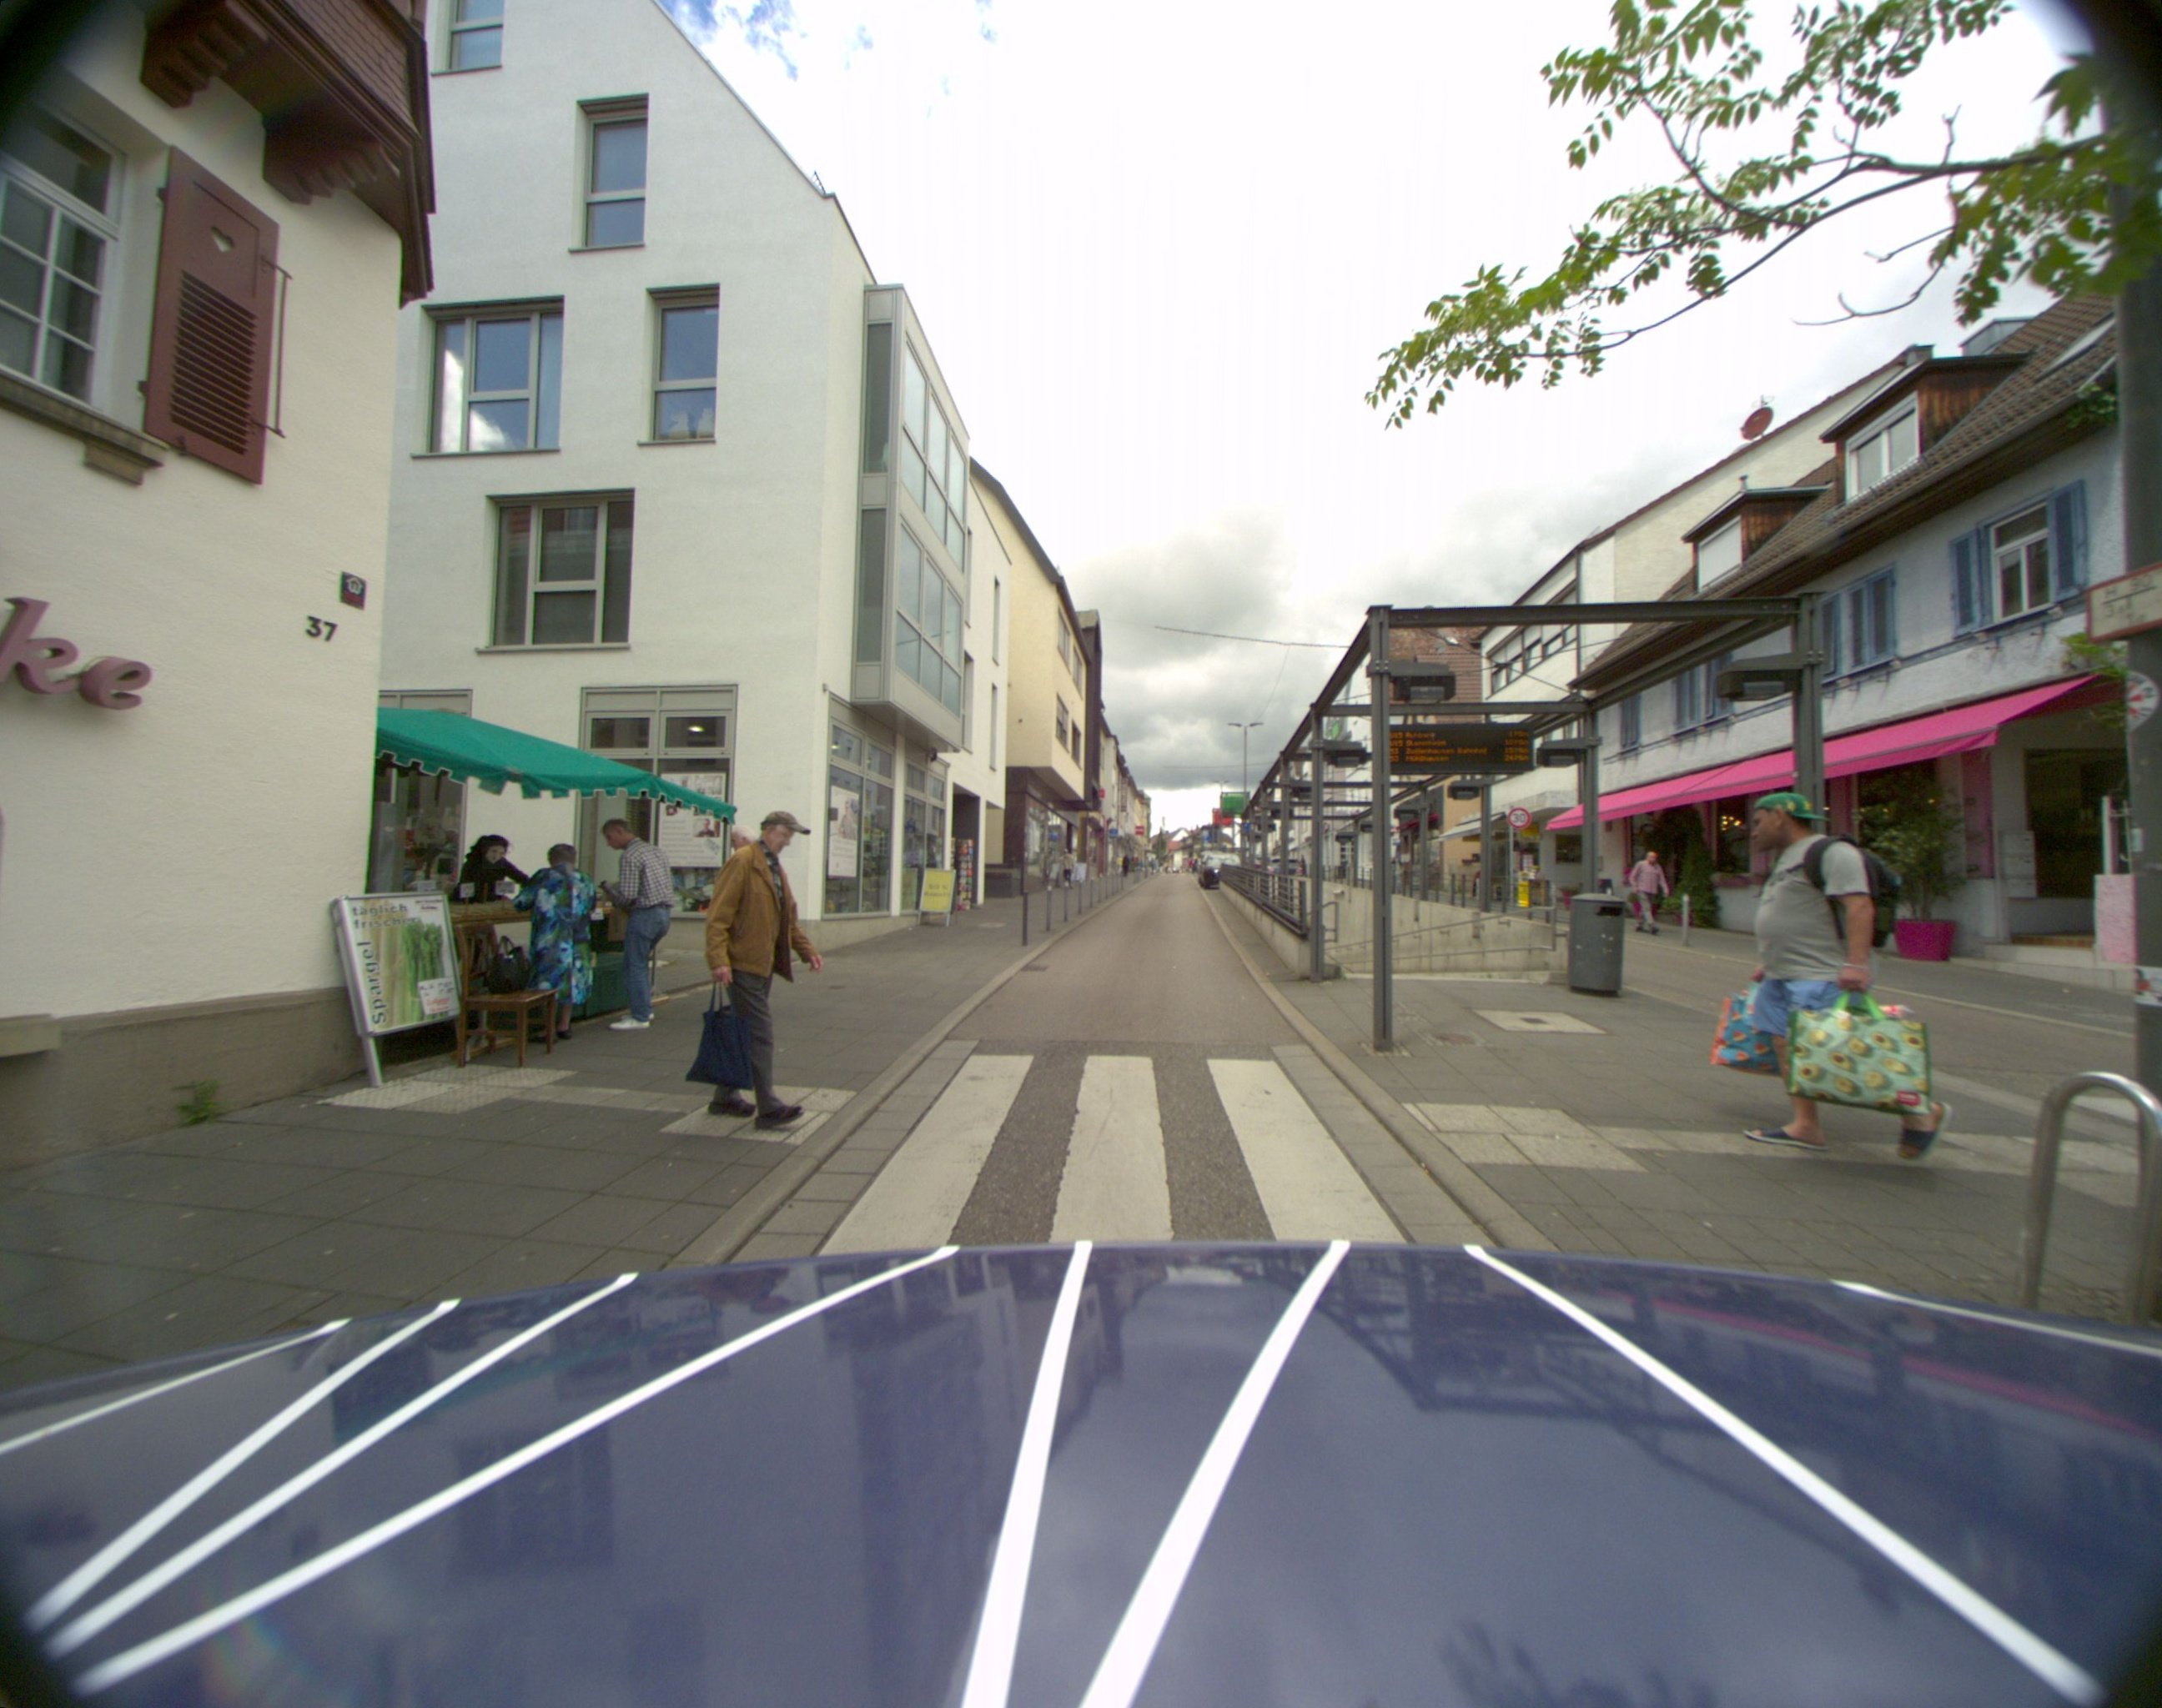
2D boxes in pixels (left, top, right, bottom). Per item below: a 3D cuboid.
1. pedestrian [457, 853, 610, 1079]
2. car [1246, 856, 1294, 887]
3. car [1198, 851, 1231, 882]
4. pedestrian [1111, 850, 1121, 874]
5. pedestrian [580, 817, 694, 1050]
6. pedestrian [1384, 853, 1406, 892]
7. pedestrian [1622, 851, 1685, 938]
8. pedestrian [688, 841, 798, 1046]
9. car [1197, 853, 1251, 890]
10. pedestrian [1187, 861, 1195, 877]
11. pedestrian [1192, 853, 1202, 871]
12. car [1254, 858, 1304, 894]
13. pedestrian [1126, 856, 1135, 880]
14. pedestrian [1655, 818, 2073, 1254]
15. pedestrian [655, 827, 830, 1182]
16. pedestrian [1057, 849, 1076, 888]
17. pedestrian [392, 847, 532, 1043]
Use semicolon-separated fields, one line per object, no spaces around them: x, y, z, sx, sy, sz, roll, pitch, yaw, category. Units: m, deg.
-4.158;0.795;5.809;0.624;1.603;0.703;1;1;12;pedestrian
10.327;0.933;41.867;1.997;1.580;4.497;-1;0;7;car
7.131;0.633;40.823;1.576;1.600;3.535;1;0;7;car
2.486;0.545;54.454;0.639;1.689;0.708;-2;1;1;pedestrian
-3.825;0.630;6.531;0.704;1.846;0.778;0;1;-41;pedestrian
13.808;0.817;33.446;0.748;1.704;0.664;1;1;8;pedestrian
11.708;0.811;15.572;0.695;1.730;0.825;1;0;9;pedestrian
-3.097;0.765;6.967;0.700;1.756;0.627;1;1;32;pedestrian
6.448;0.773;34.777;1.998;1.557;4.433;-1;0;5;car
10.509;1.469;72.649;0.662;1.519;0.706;1;1;0;pedestrian
11.208;0.786;73.404;0.761;1.764;0.851;1;1;0;pedestrian
9.059;0.977;35.003;1.702;1.538;3.901;-1;0;7;car
3.560;0.975;54.582;0.663;1.696;0.780;1;0;5;pedestrian
3.569;0.747;3.593;0.987;1.777;0.920;1;0;3;pedestrian
-1.844;0.761;4.245;0.676;1.791;0.788;1;1;-7;pedestrian
-0.610;0.620;32.713;0.759;1.663;0.780;0;0;5;pedestrian
-5.376;0.744;6.630;0.624;1.603;0.703;1;1;12;pedestrian
